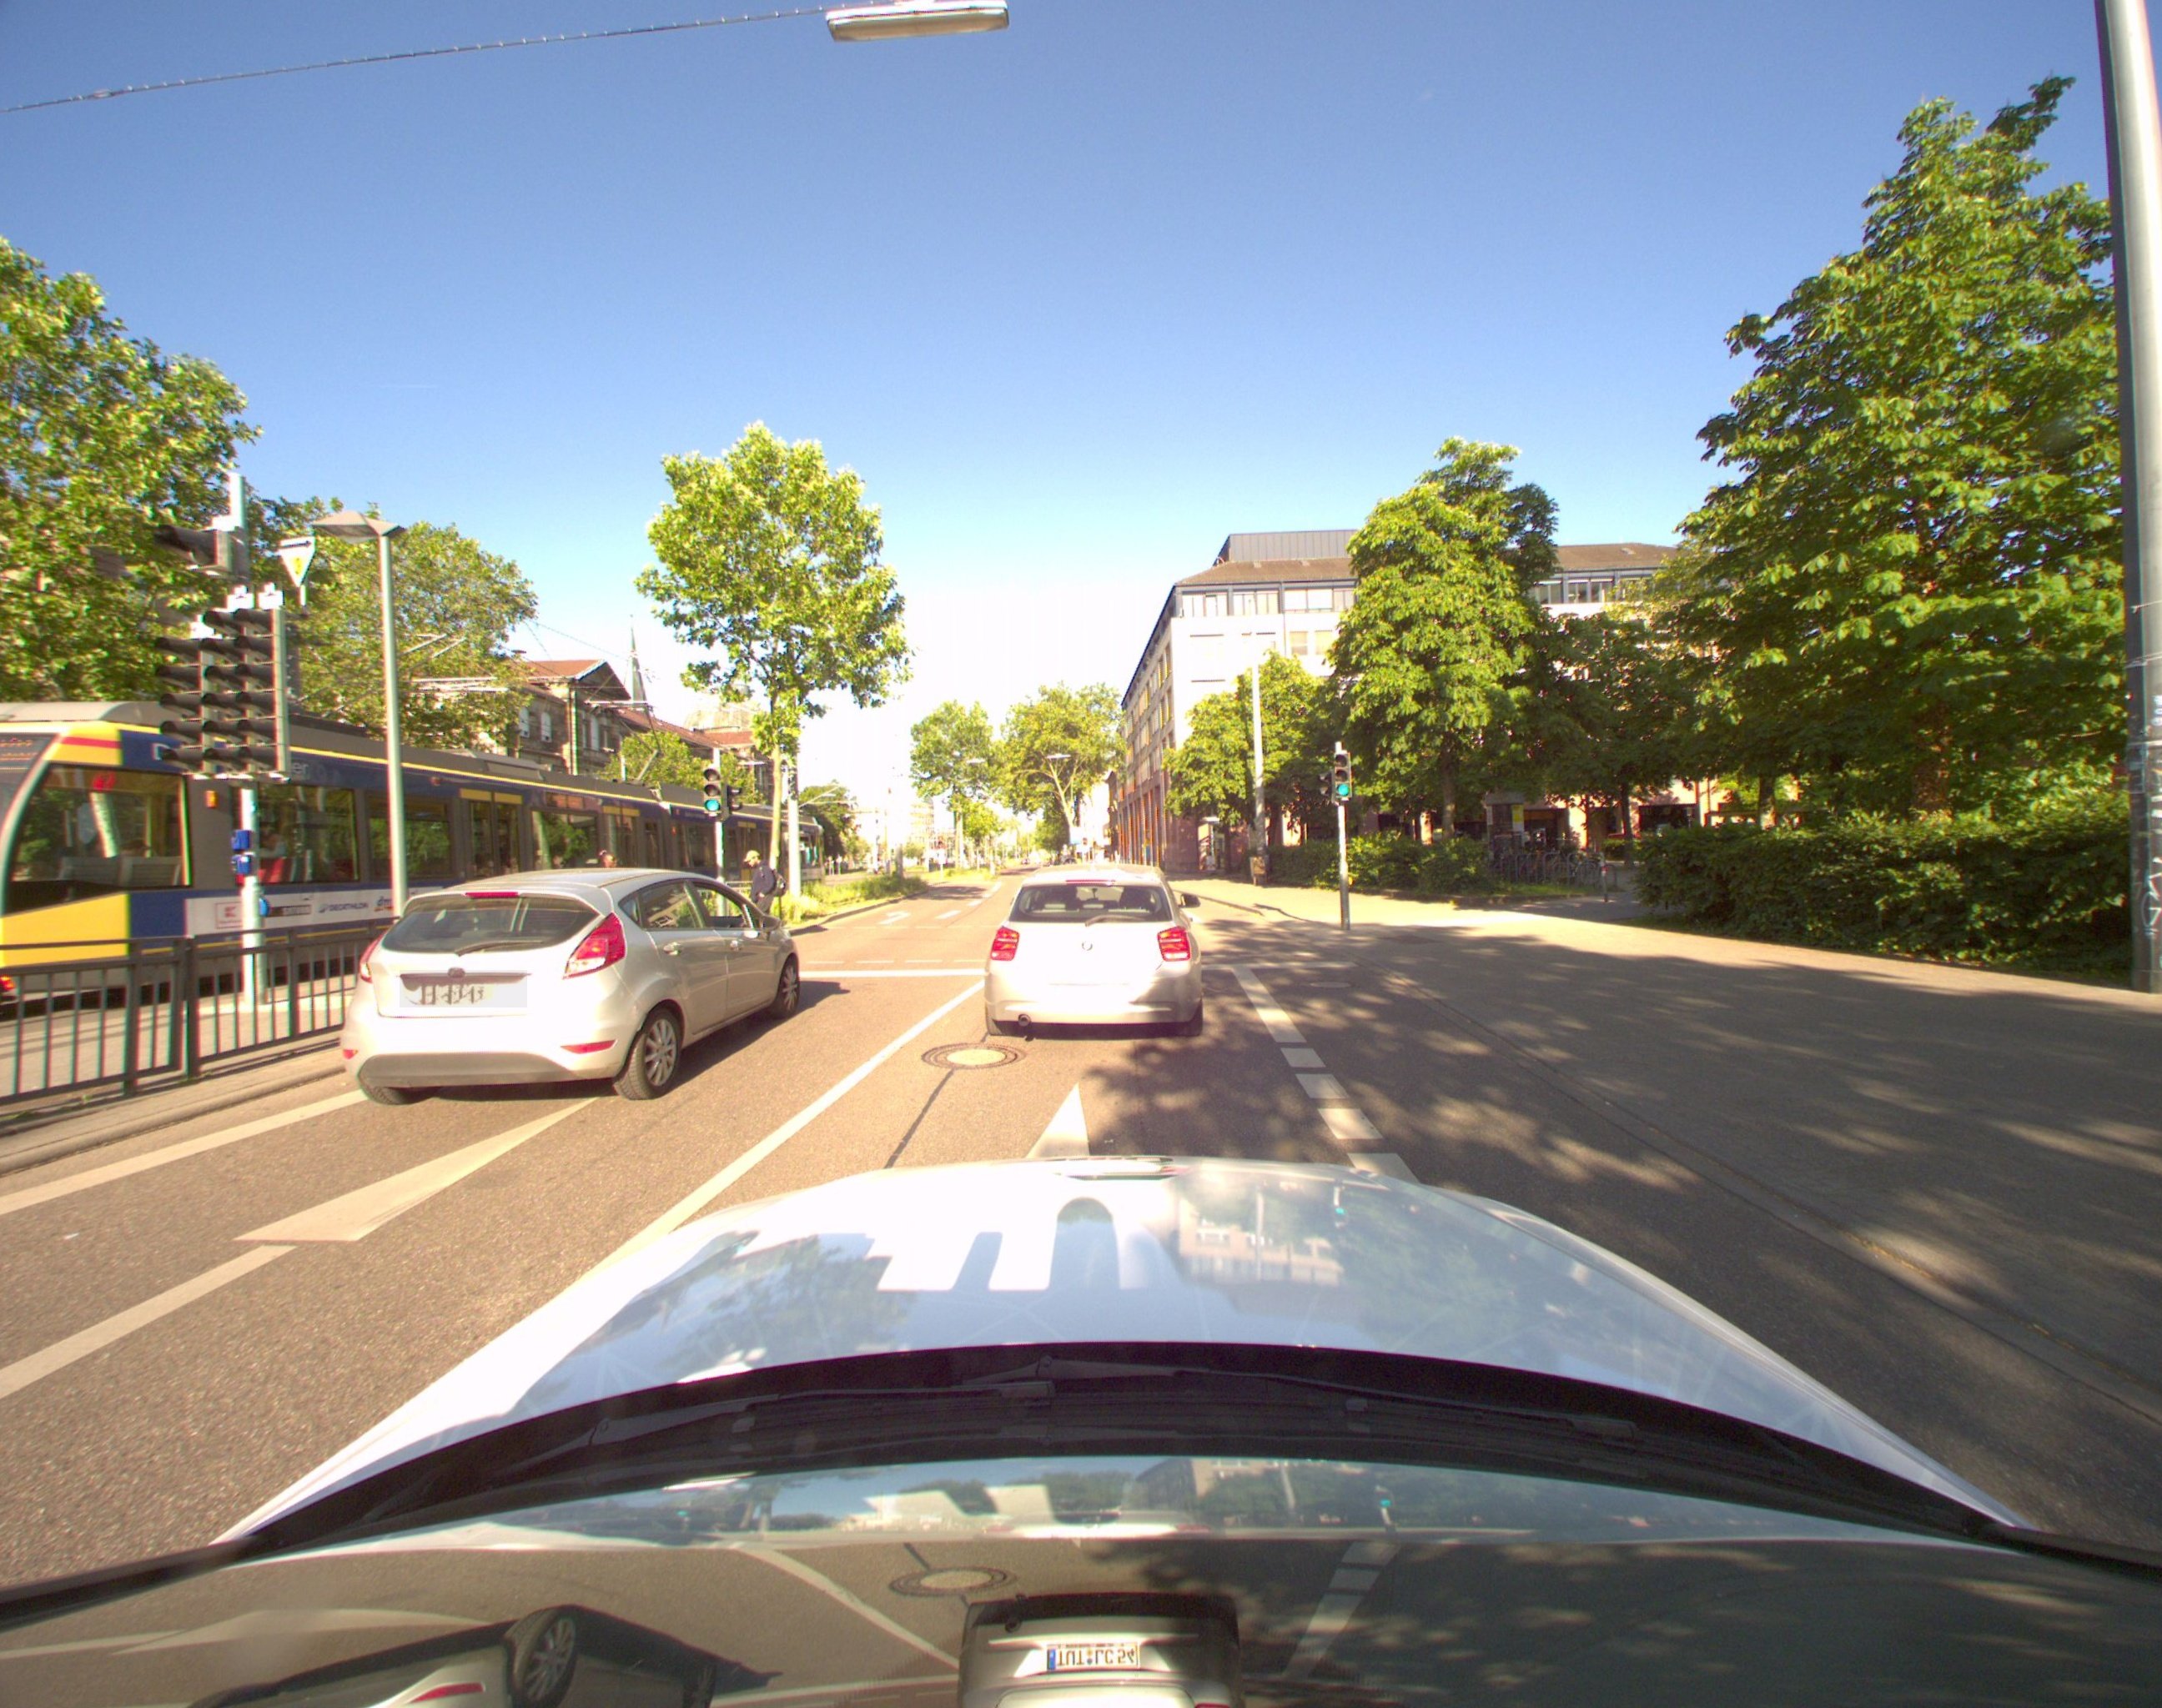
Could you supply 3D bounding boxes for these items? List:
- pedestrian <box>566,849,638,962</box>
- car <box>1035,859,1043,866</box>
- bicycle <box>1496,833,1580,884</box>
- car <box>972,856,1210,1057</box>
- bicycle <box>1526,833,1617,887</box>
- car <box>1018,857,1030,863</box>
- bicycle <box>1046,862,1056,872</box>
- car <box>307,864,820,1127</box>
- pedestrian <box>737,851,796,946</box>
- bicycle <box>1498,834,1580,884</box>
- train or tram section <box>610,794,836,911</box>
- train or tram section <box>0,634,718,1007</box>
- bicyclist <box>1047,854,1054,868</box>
[{"bbox_3d":[-6.900,0.721,11.758,0.630,1.557,0.645,-2,0,-7],"label":"pedestrian"},{"bbox_3d":[-12.696,2.640,247.867,1.986,2.014,4.002,0,-1,2],"label":"car"},{"bbox_3d":[12.918,0.121,23.059,1.989,1.314,0.574,-3,0,0],"label":"bicycle"},{"bbox_3d":[0.234,0.751,7.850,1.722,1.390,3.845,0,1,5],"label":"car"},{"bbox_3d":[13.006,0.155,21.625,1.989,1.314,0.574,-3,0,0],"label":"bicycle"},{"bbox_3d":[-15.083,1.711,214.723,2.001,1.486,3.971,-2,0,-21],"label":"car"},{"bbox_3d":[-3.444,1.491,93.506,0.827,1.041,1.878,-3,0,7],"label":"bicycle"},{"bbox_3d":[-3.424,0.797,6.300,1.655,1.409,3.631,-1,-1,-1],"label":"car"},{"bbox_3d":[-5.585,0.766,14.480,0.944,1.629,0.624,-1,-1,-21],"label":"pedestrian"},{"bbox_3d":[13.309,0.134,23.674,1.989,1.314,0.574,-3,0,0],"label":"bicycle"},{"bbox_3d":[-11.965,0.095,29.315,2.908,3.260,13.097,0,-1,-3],"label":"train or tram section"},{"bbox_3d":[-11.284,-0.127,14.864,2.908,3.260,15.874,0,-1,-3],"label":"train or tram section"},{"bbox_3d":[-3.498,0.787,93.453,0.655,1.657,0.766,-3,0,6],"label":"bicyclist"}]
